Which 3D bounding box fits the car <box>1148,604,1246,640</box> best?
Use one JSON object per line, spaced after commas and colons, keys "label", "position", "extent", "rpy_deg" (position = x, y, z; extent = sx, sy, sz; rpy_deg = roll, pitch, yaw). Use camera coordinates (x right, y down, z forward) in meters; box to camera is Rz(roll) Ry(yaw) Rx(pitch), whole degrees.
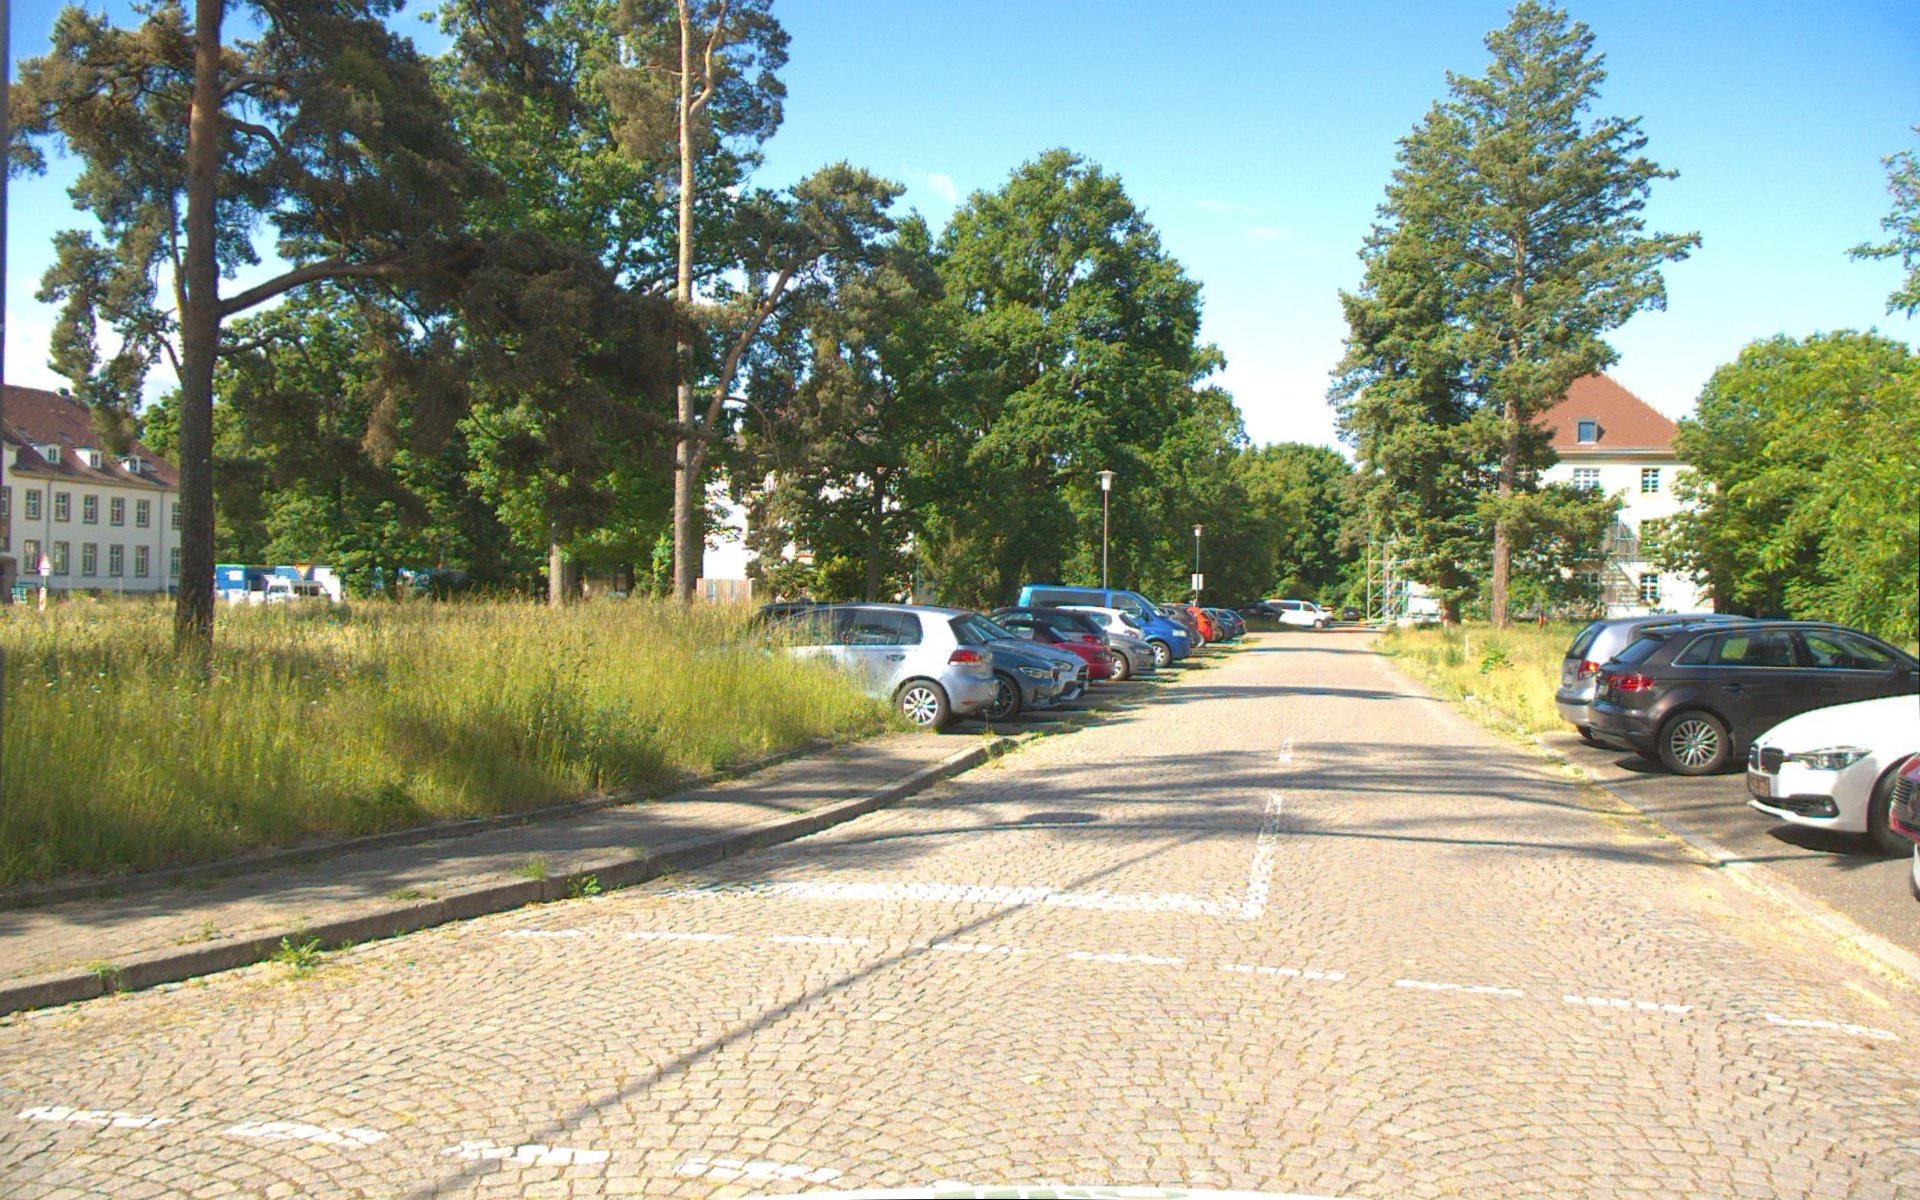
{"label": "car", "position": [11.029, 1.005, 76.994], "extent": [4.267, 1.470, 1.922], "rpy_deg": [2, 1, 15]}

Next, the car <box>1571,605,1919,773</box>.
{"label": "car", "position": [8.273, 0.843, 16.322], "extent": [3.918, 1.466, 1.846], "rpy_deg": [-2, 0, 11]}

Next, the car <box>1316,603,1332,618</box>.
{"label": "car", "position": [41.382, 1.178, 188.045], "extent": [1.773, 1.607, 4.138], "rpy_deg": [0, 0, 12]}

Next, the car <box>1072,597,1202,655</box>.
{"label": "car", "position": [5.609, 0.794, 52.267], "extent": [3.869, 1.595, 1.976], "rpy_deg": [3, 1, 11]}

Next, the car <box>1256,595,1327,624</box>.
{"label": "car", "position": [24.845, 0.705, 124.043], "extent": [5.123, 2.051, 1.952], "rpy_deg": [1, 0, 12]}

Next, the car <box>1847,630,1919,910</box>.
{"label": "car", "position": [7.203, 0.850, 8.313], "extent": [4.440, 1.446, 1.896], "rpy_deg": [-1, -1, 11]}

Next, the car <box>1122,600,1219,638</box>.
{"label": "car", "position": [8.944, 0.778, 70.199], "extent": [3.840, 1.458, 1.843], "rpy_deg": [2, 1, 14]}

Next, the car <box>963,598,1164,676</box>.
{"label": "car", "position": [2.242, 0.754, 35.470], "extent": [3.990, 1.450, 1.924], "rpy_deg": [2, 0, 13]}

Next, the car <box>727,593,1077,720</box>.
{"label": "car", "position": [-0.733, 0.748, 22.875], "extent": [4.483, 1.477, 1.986], "rpy_deg": [2, 0, 9]}

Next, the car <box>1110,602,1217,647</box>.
{"label": "car", "position": [7.702, 0.905, 62.393], "extent": [3.840, 1.486, 1.844], "rpy_deg": [2, 1, 11]}

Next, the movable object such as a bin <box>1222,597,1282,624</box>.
{"label": "movable object such as a bin", "position": [19.753, 0.683, 111.746], "extent": [3.500, 1.775, 2.020], "rpy_deg": [0, 0, 31]}

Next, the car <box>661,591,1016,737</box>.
{"label": "car", "position": [-1.435, 0.729, 20.344], "extent": [3.941, 1.509, 1.951], "rpy_deg": [2, 1, 11]}

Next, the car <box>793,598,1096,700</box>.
{"label": "car", "position": [-0.222, 0.788, 27.950], "extent": [4.761, 1.445, 1.940], "rpy_deg": [2, 0, 13]}

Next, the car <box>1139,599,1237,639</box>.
{"label": "car", "position": [10.002, 0.823, 72.422], "extent": [4.047, 1.607, 1.886], "rpy_deg": [2, 1, 12]}

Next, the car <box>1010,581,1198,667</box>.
{"label": "car", "position": [3.810, 0.605, 43.484], "extent": [4.617, 2.002, 2.007], "rpy_deg": [3, 0, 12]}

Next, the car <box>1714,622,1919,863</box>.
{"label": "car", "position": [7.679, 0.883, 11.091], "extent": [4.416, 1.490, 1.840], "rpy_deg": [-1, -1, 10]}

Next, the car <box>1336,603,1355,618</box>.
{"label": "car", "position": [43.744, 1.156, 187.830], "extent": [1.929, 1.697, 4.089], "rpy_deg": [0, 0, 12]}

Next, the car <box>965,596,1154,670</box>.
{"label": "car", "position": [2.330, 0.739, 38.405], "extent": [4.107, 1.501, 1.825], "rpy_deg": [2, 0, 12]}

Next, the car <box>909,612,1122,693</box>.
{"label": "car", "position": [1.040, 0.933, 30.040], "extent": [3.553, 1.255, 1.761], "rpy_deg": [2, -1, 13]}

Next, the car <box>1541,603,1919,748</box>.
{"label": "car", "position": [8.771, 0.850, 19.025], "extent": [3.660, 1.502, 1.753], "rpy_deg": [-2, -1, 11]}

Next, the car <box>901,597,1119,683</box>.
{"label": "car", "position": [1.020, 0.778, 32.782], "extent": [3.990, 1.477, 1.823], "rpy_deg": [2, -1, 13]}

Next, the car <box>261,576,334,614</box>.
{"label": "car", "position": [-44.950, -0.338, 112.366], "extent": [1.942, 2.479, 5.281], "rpy_deg": [0, 0, 13]}

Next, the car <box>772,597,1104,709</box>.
{"label": "car", "position": [-0.298, 0.793, 25.565], "extent": [4.761, 1.445, 1.940], "rpy_deg": [2, -1, 13]}
